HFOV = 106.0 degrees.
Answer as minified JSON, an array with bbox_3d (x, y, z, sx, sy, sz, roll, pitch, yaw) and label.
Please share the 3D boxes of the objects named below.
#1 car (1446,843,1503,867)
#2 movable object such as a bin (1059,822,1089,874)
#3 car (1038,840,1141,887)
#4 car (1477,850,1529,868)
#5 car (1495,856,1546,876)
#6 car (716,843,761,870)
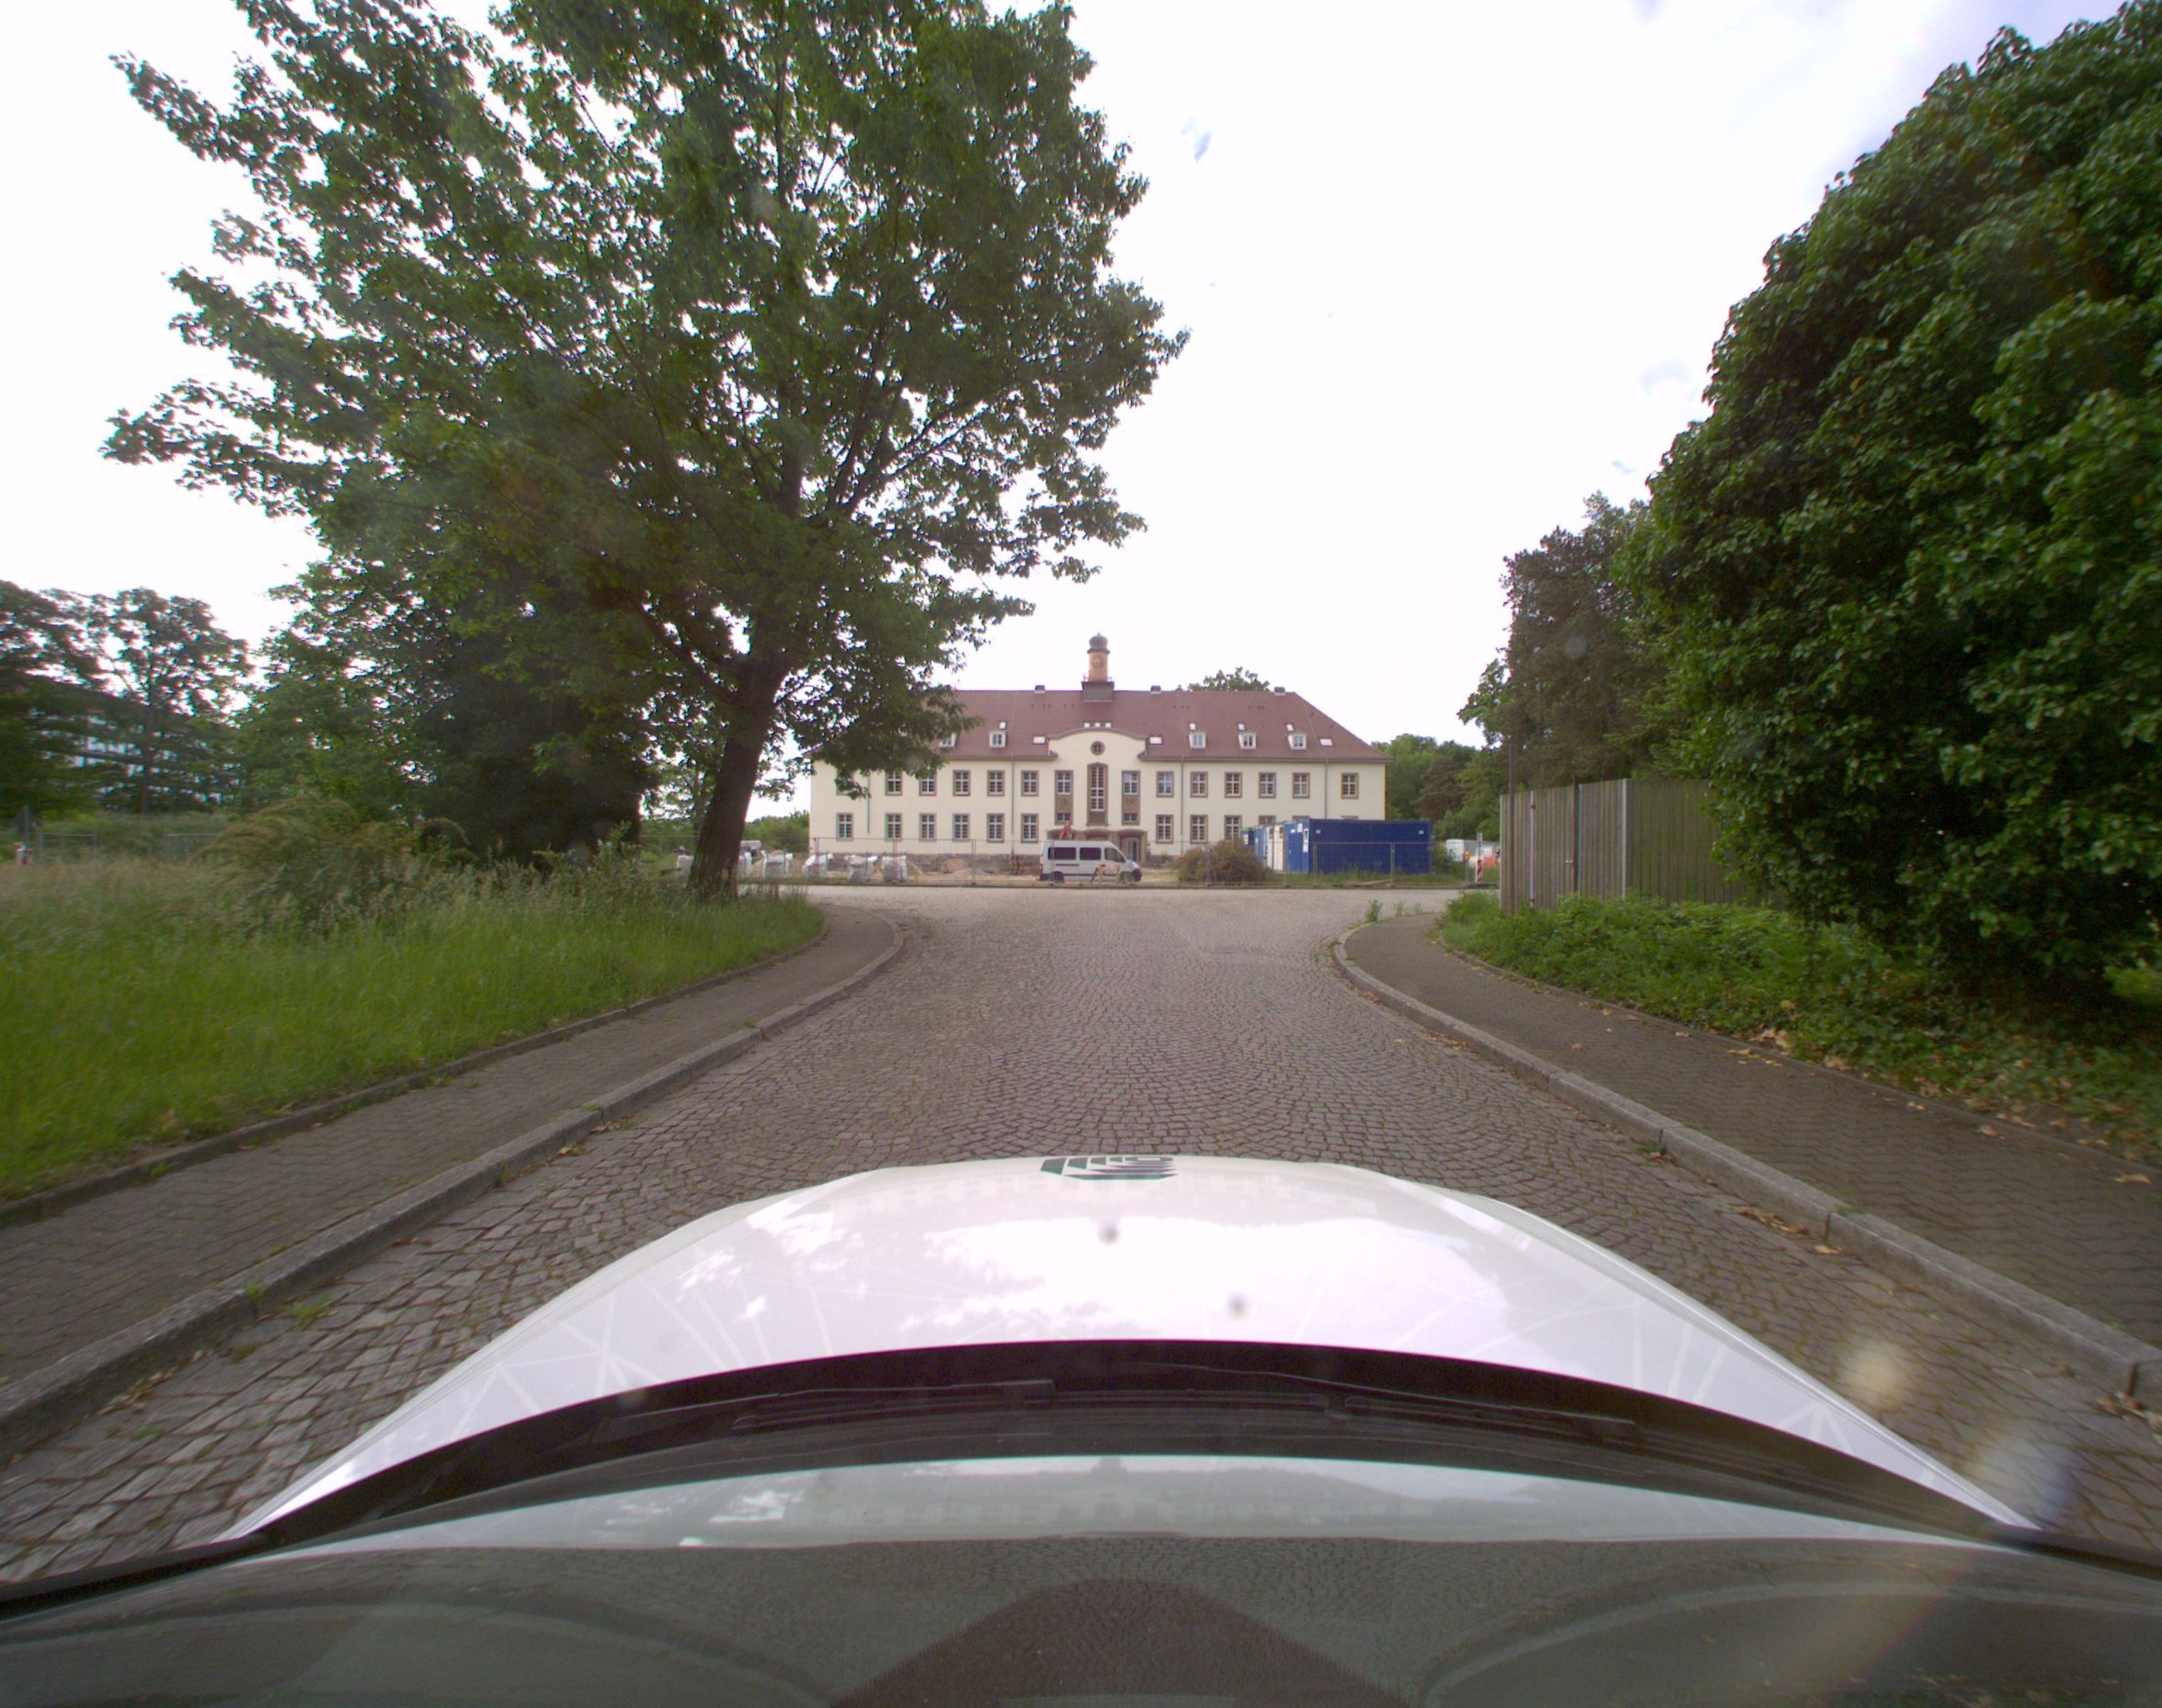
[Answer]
[{"bbox_3d":[33.603,0.099,69.462,5.438,2.043,1.747,0,0,-31],"label":"car"},{"bbox_3d":[-0.568,-0.431,62.383,1.989,3.771,5.311,1,0,-3],"label":"movable object such as a bin"},{"bbox_3d":[0.472,0.487,42.691,5.243,2.344,1.911,1,-1,1],"label":"car"},{"bbox_3d":[34.497,0.406,66.565,4.460,1.502,1.747,0,0,-31],"label":"car"},{"bbox_3d":[34.023,0.895,63.021,4.000,1.487,1.605,0,1,-31],"label":"car"},{"bbox_3d":[-29.033,0.202,69.179,2.064,2.151,4.889,1,0,-6],"label":"car"}]
